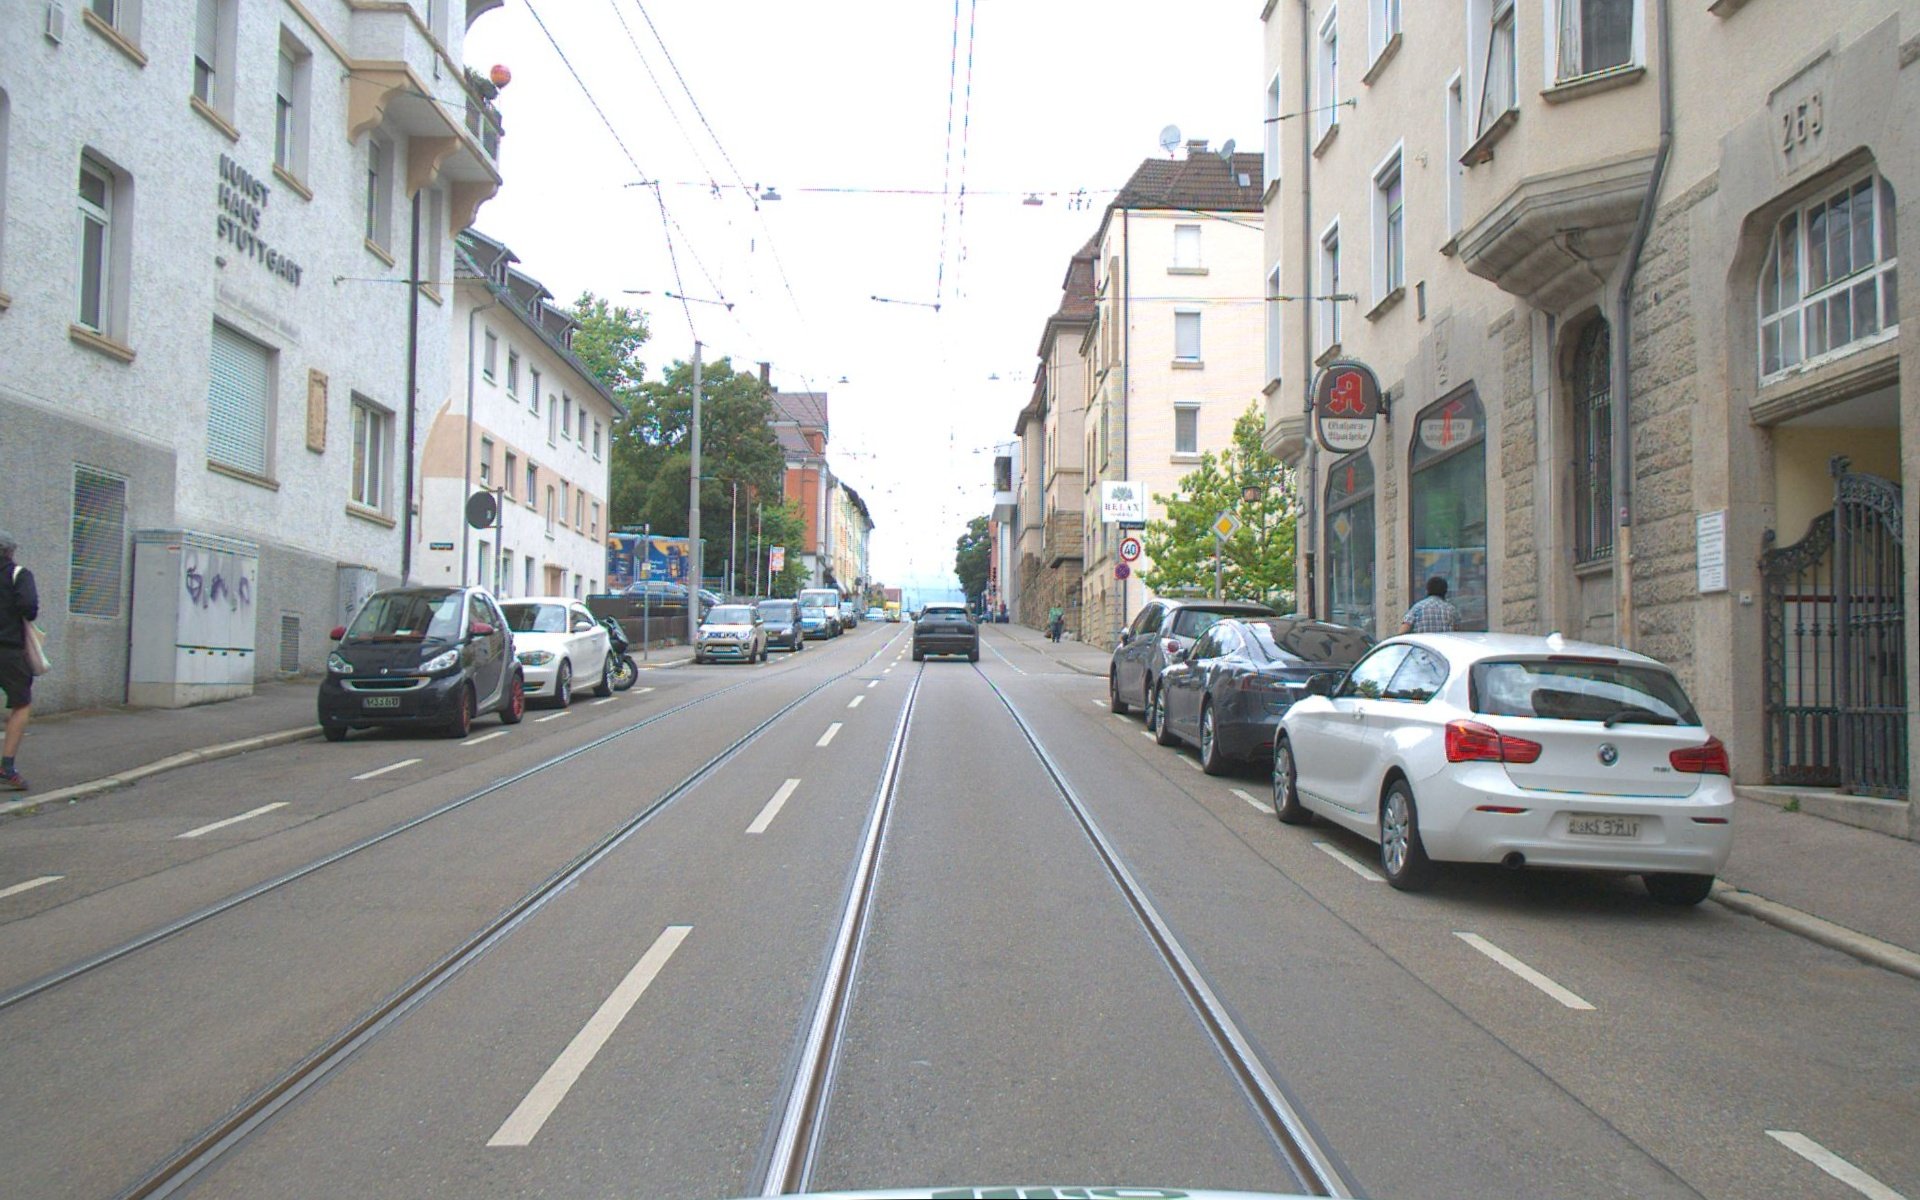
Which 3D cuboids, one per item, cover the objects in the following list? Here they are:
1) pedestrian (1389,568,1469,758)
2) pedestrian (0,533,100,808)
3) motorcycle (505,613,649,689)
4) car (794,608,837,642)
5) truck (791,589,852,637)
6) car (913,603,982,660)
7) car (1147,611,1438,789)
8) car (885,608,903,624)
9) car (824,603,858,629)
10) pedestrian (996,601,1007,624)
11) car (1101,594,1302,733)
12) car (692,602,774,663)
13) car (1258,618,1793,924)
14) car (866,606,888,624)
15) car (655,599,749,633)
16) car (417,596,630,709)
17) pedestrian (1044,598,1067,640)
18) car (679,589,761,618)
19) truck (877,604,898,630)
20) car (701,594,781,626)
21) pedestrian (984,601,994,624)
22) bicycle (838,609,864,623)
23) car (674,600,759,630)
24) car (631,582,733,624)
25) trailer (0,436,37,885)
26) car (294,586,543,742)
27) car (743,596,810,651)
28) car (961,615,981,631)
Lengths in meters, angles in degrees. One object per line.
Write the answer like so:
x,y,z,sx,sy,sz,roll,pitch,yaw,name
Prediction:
4.652,0.617,16.419,0.587,1.834,0.631,1,-1,-1,pedestrian
-6.974,0.496,12.262,0.577,1.938,0.811,6,-1,-1,pedestrian
-6.017,0.793,25.986,2.063,1.154,0.767,-1,0,13,motorcycle
-6.488,1.097,74.662,1.663,1.458,4.479,-1,0,-2,car
-6.777,0.610,81.793,2.233,2.226,8.024,1,0,0,truck
-0.355,0.908,49.393,1.953,1.590,4.289,1,0,0,car
3.098,0.867,16.416,1.744,1.415,4.690,3,0,-2,car
-7.251,1.772,182.419,1.817,1.635,4.296,1,0,-1,car
-6.965,0.932,96.783,1.677,1.472,4.289,1,0,0,car
3.128,0.949,125.031,0.775,1.696,0.799,1,0,1,pedestrian
3.056,0.753,21.847,1.700,1.564,4.571,3,0,-3,car
-6.209,0.870,45.616,1.662,1.583,3.850,1,0,1,car
3.218,0.879,10.405,1.715,1.415,4.306,3,0,-2,car
-7.491,1.361,149.884,1.817,1.635,4.296,1,0,-1,car
-11.614,0.712,74.719,3.978,1.470,1.687,1,0,-2,car
-5.853,0.653,22.698,1.743,1.381,4.291,1,0,0,car
3.959,0.786,68.457,0.853,1.716,0.663,-1,0,-3,pedestrian
-11.886,0.168,82.115,3.797,1.381,1.687,1,0,-2,car
-8.825,2.099,202.693,2.255,3.090,9.031,1,-1,-1,truck
-11.360,0.536,85.716,3.895,1.578,1.681,1,0,-16,car
2.195,0.920,125.035,0.775,1.696,0.799,1,0,1,pedestrian
-7.929,1.174,120.204,1.872,1.017,0.479,1,0,0,bicycle
-11.686,0.726,79.512,3.797,1.381,1.687,1,0,-2,car
-11.748,0.121,69.984,3.978,1.579,1.687,3,0,-2,car
-5.540,0.324,6.314,1.713,2.193,4.071,-2,0,0,trailer
-5.726,0.636,17.838,1.662,1.494,3.023,-2,0,0,car
-6.250,0.783,56.633,1.708,1.766,4.519,-1,0,1,car
1.084,2.300,168.146,1.953,1.590,4.289,1,0,0,car
